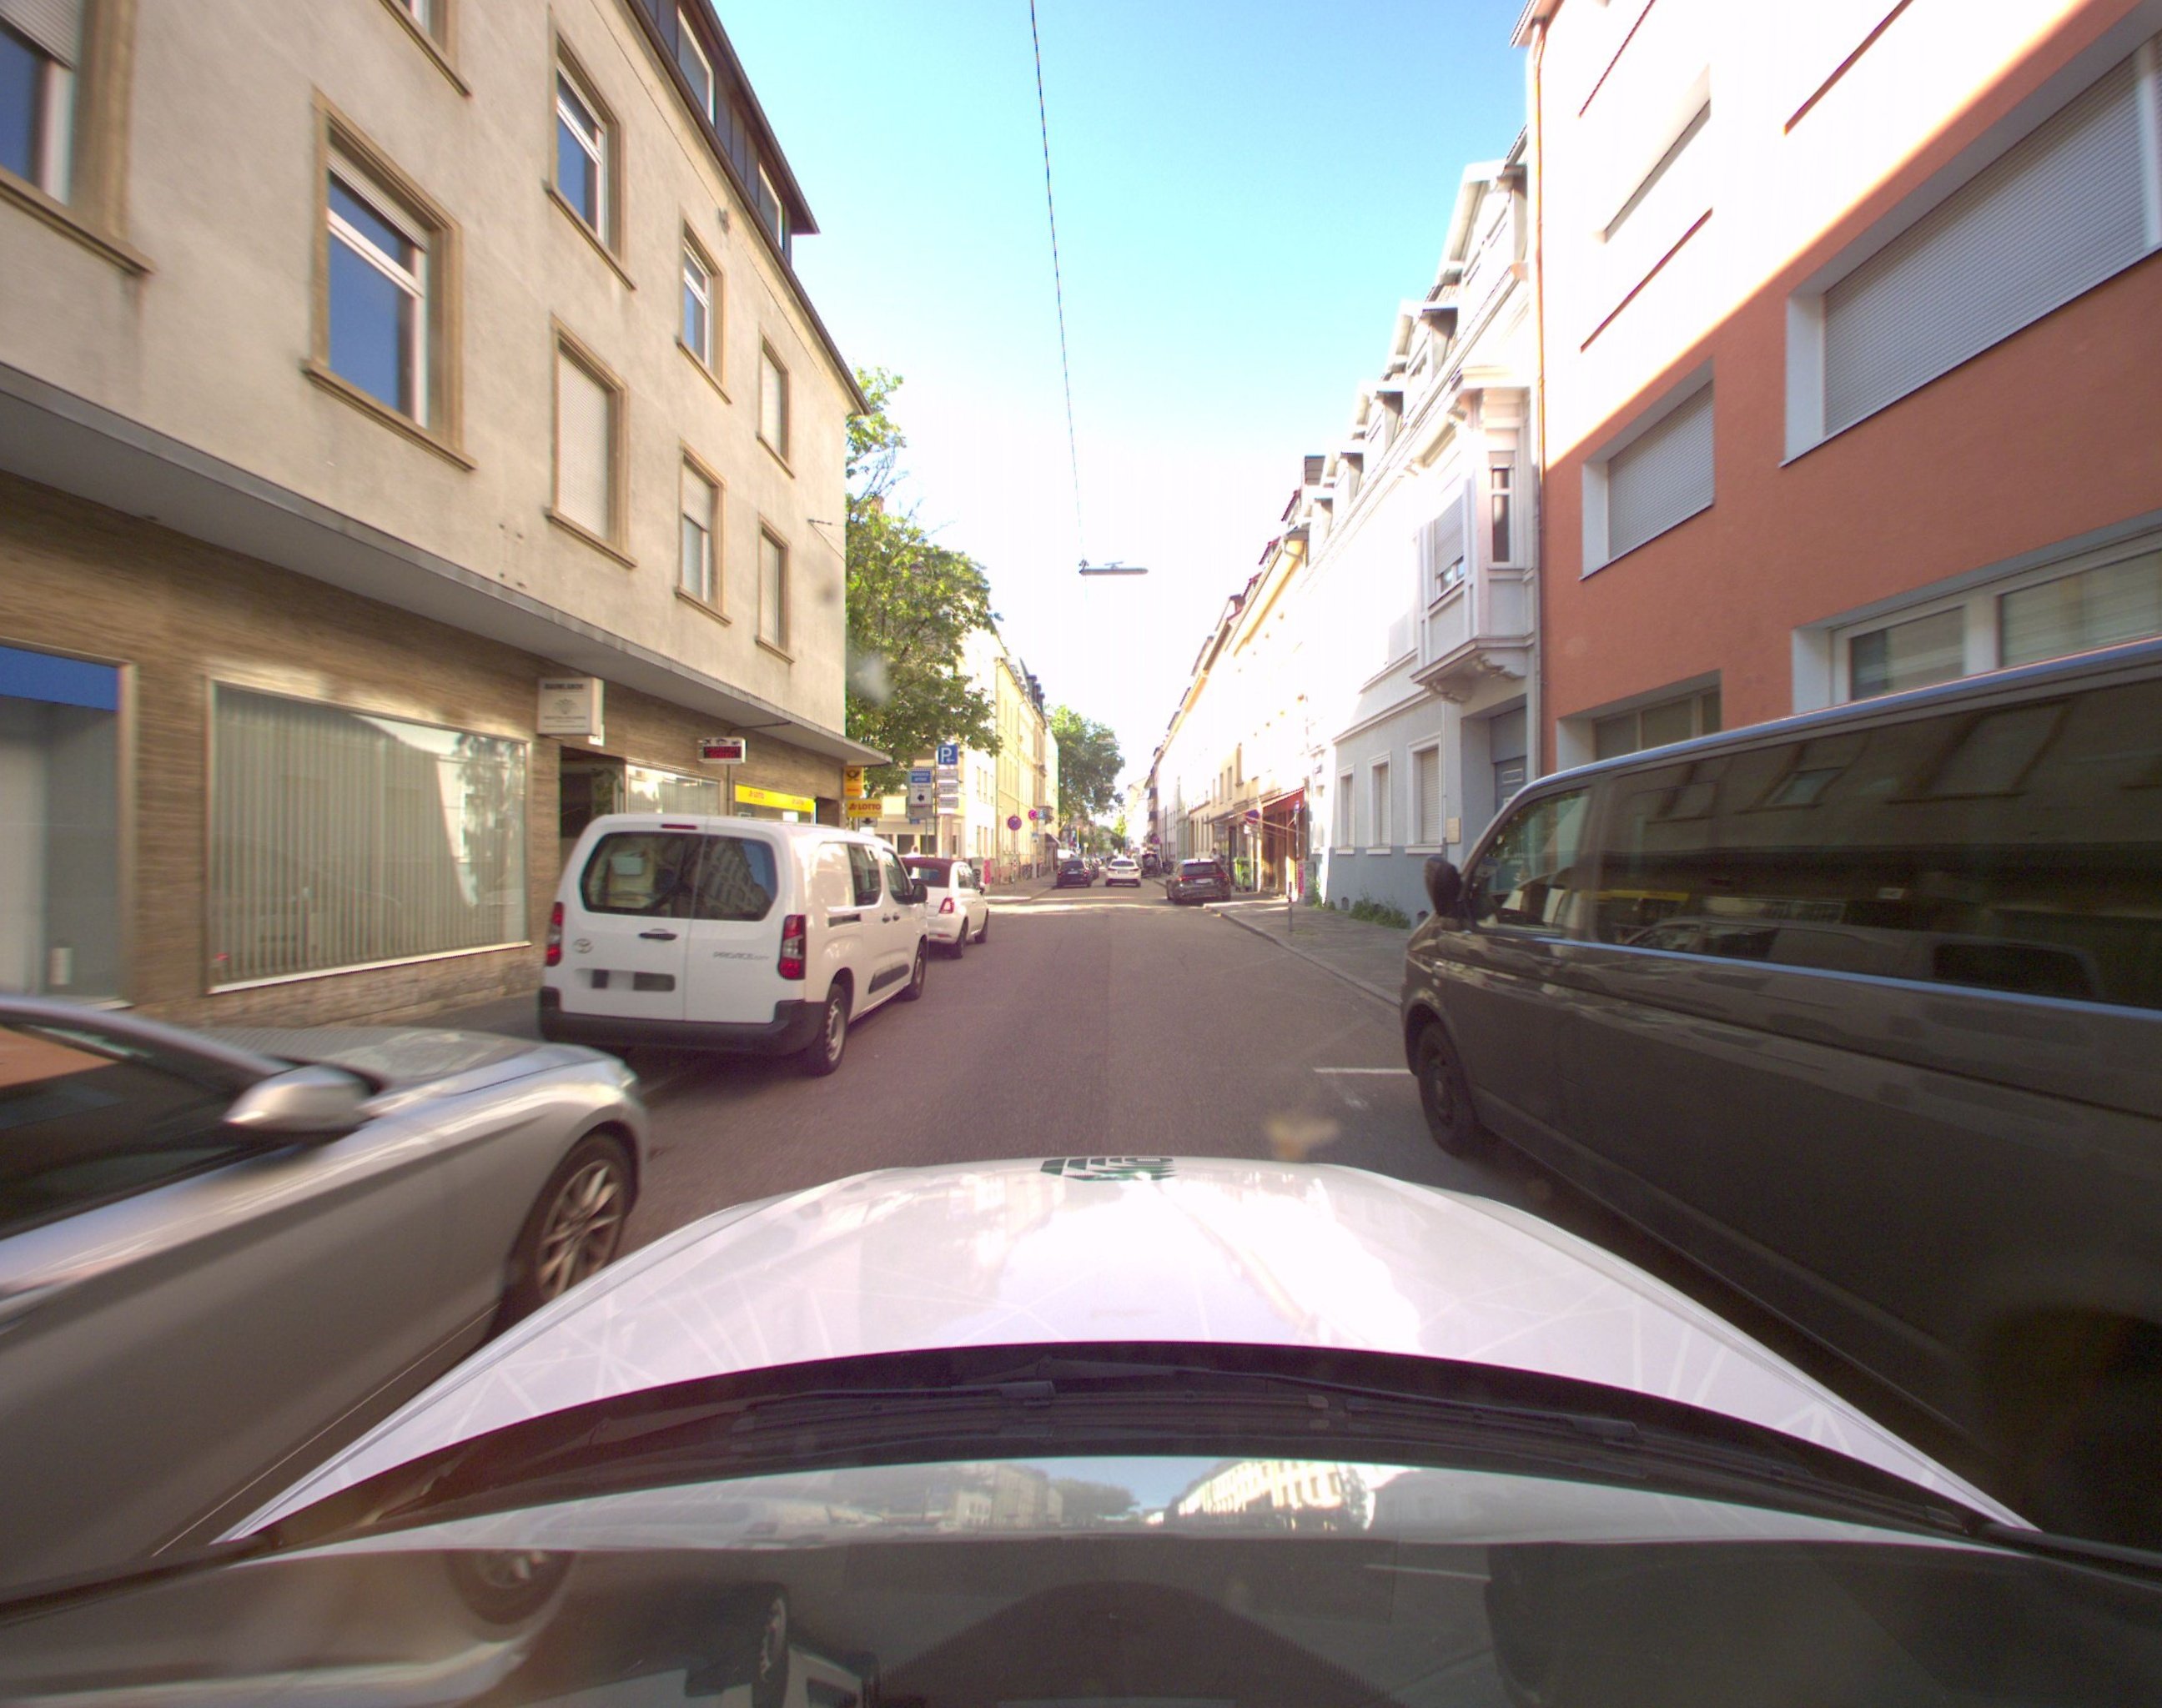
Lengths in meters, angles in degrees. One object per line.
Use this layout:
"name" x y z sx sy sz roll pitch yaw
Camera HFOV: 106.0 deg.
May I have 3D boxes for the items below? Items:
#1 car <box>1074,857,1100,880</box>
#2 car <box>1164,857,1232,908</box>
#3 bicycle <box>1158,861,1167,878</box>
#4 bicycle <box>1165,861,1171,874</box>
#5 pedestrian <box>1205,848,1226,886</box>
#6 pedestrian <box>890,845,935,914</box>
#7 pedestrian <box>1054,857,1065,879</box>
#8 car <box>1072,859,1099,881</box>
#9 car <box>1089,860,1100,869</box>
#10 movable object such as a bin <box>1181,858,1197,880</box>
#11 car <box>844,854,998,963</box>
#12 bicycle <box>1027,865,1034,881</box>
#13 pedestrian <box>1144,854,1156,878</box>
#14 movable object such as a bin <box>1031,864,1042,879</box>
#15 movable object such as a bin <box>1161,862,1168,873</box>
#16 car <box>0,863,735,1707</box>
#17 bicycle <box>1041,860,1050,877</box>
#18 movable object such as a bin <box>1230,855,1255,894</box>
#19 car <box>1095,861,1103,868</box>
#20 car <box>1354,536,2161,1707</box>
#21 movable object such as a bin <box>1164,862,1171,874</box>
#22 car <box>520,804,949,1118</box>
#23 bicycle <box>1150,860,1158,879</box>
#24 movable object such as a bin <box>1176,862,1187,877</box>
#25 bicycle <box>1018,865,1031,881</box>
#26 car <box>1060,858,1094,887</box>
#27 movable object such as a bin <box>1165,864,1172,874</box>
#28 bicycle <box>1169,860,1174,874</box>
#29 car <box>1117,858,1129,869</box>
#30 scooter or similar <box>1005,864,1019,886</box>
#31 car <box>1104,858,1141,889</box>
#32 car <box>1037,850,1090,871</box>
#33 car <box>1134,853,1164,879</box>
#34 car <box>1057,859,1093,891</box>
"car" 0.523 1.107 65.038 1.928 1.736 5.144 -1 -1 2
"car" 3.890 0.897 27.852 1.794 1.579 4.899 0 -1 2
"bicycle" 6.068 1.143 60.583 0.572 1.271 2.203 -3 -1 6
"bicycle" 7.947 1.248 74.323 0.565 1.153 1.871 -1 -1 7
"pedestrian" 6.711 0.638 40.661 0.650 1.860 0.744 -3 0 -20
"pedestrian" -4.575 0.683 22.194 0.907 1.833 1.246 -1 -1 2
"pedestrian" -1.731 1.122 65.603 0.762 1.714 0.883 1 0 1
"car" 0.360 1.155 59.518 1.706 1.531 4.371 -1 -1 3
"car" 2.427 1.846 145.876 1.763 1.589 3.727 -1 0 1
"movable object such as a bin" 7.118 0.996 53.812 0.834 1.390 1.297 -3 -3 1
"car" -2.503 0.810 13.652 1.660 1.560 3.725 -1 -1 3
"bicycle" -3.398 1.261 55.196 0.400 1.056 1.836 -1 -1 -1
"pedestrian" 5.353 0.896 63.058 0.878 1.836 0.868 -1 -1 0
"movable object such as a bin" -3.207 1.247 58.523 0.733 1.089 0.682 -1 1 -2
"movable object such as a bin" 8.131 1.309 78.987 0.625 1.122 0.569 -1 -1 3
"car" -2.493 0.832 1.498 1.659 1.523 4.489 -2 0 1
"bicycle" -2.801 1.164 65.138 0.508 1.277 1.868 -1 -1 3
"movable object such as a bin" 6.331 0.793 32.005 0.743 1.436 1.374 -3 -1 4
"car" 3.999 2.274 178.076 1.566 1.585 3.613 -1 -1 3
"car" 2.740 0.530 2.910 1.963 2.029 4.900 1 0 1
"movable object such as a bin" 8.093 1.309 76.198 0.614 1.062 0.603 -2 -1 1
"car" -2.565 0.676 7.505 1.761 1.899 4.809 -2 0 1
"bicycle" 5.405 1.153 60.277 0.572 1.321 2.202 -2 0 6
"movable object such as a bin" 7.428 1.177 60.401 0.793 1.096 0.642 -1 -1 4
"bicycle" -3.581 1.213 51.849 0.358 1.029 1.923 -1 -1 12
"car" -0.181 1.052 48.962 1.737 1.615 4.606 -2 0 3
"movable object such as a bin" 8.096 1.372 75.587 0.575 0.924 0.608 -3 -1 2
"bicycle" 7.990 1.190 71.896 0.403 1.206 2.162 -1 -1 5
"car" 7.595 1.682 148.968 1.936 1.948 4.077 1 -1 0
"scooter or similar" -3.787 1.172 44.856 0.451 1.182 1.693 -1 -1 5
"car" 2.123 0.988 42.647 1.817 1.514 3.824 -1 -1 1
"car" -2.317 0.900 109.221 6.710 2.555 2.147 3 -1 3
"car" 5.488 0.941 66.245 1.976 1.884 5.601 -4 0 2
"car" -0.258 1.083 43.099 1.707 1.488 4.853 -3 -1 1
